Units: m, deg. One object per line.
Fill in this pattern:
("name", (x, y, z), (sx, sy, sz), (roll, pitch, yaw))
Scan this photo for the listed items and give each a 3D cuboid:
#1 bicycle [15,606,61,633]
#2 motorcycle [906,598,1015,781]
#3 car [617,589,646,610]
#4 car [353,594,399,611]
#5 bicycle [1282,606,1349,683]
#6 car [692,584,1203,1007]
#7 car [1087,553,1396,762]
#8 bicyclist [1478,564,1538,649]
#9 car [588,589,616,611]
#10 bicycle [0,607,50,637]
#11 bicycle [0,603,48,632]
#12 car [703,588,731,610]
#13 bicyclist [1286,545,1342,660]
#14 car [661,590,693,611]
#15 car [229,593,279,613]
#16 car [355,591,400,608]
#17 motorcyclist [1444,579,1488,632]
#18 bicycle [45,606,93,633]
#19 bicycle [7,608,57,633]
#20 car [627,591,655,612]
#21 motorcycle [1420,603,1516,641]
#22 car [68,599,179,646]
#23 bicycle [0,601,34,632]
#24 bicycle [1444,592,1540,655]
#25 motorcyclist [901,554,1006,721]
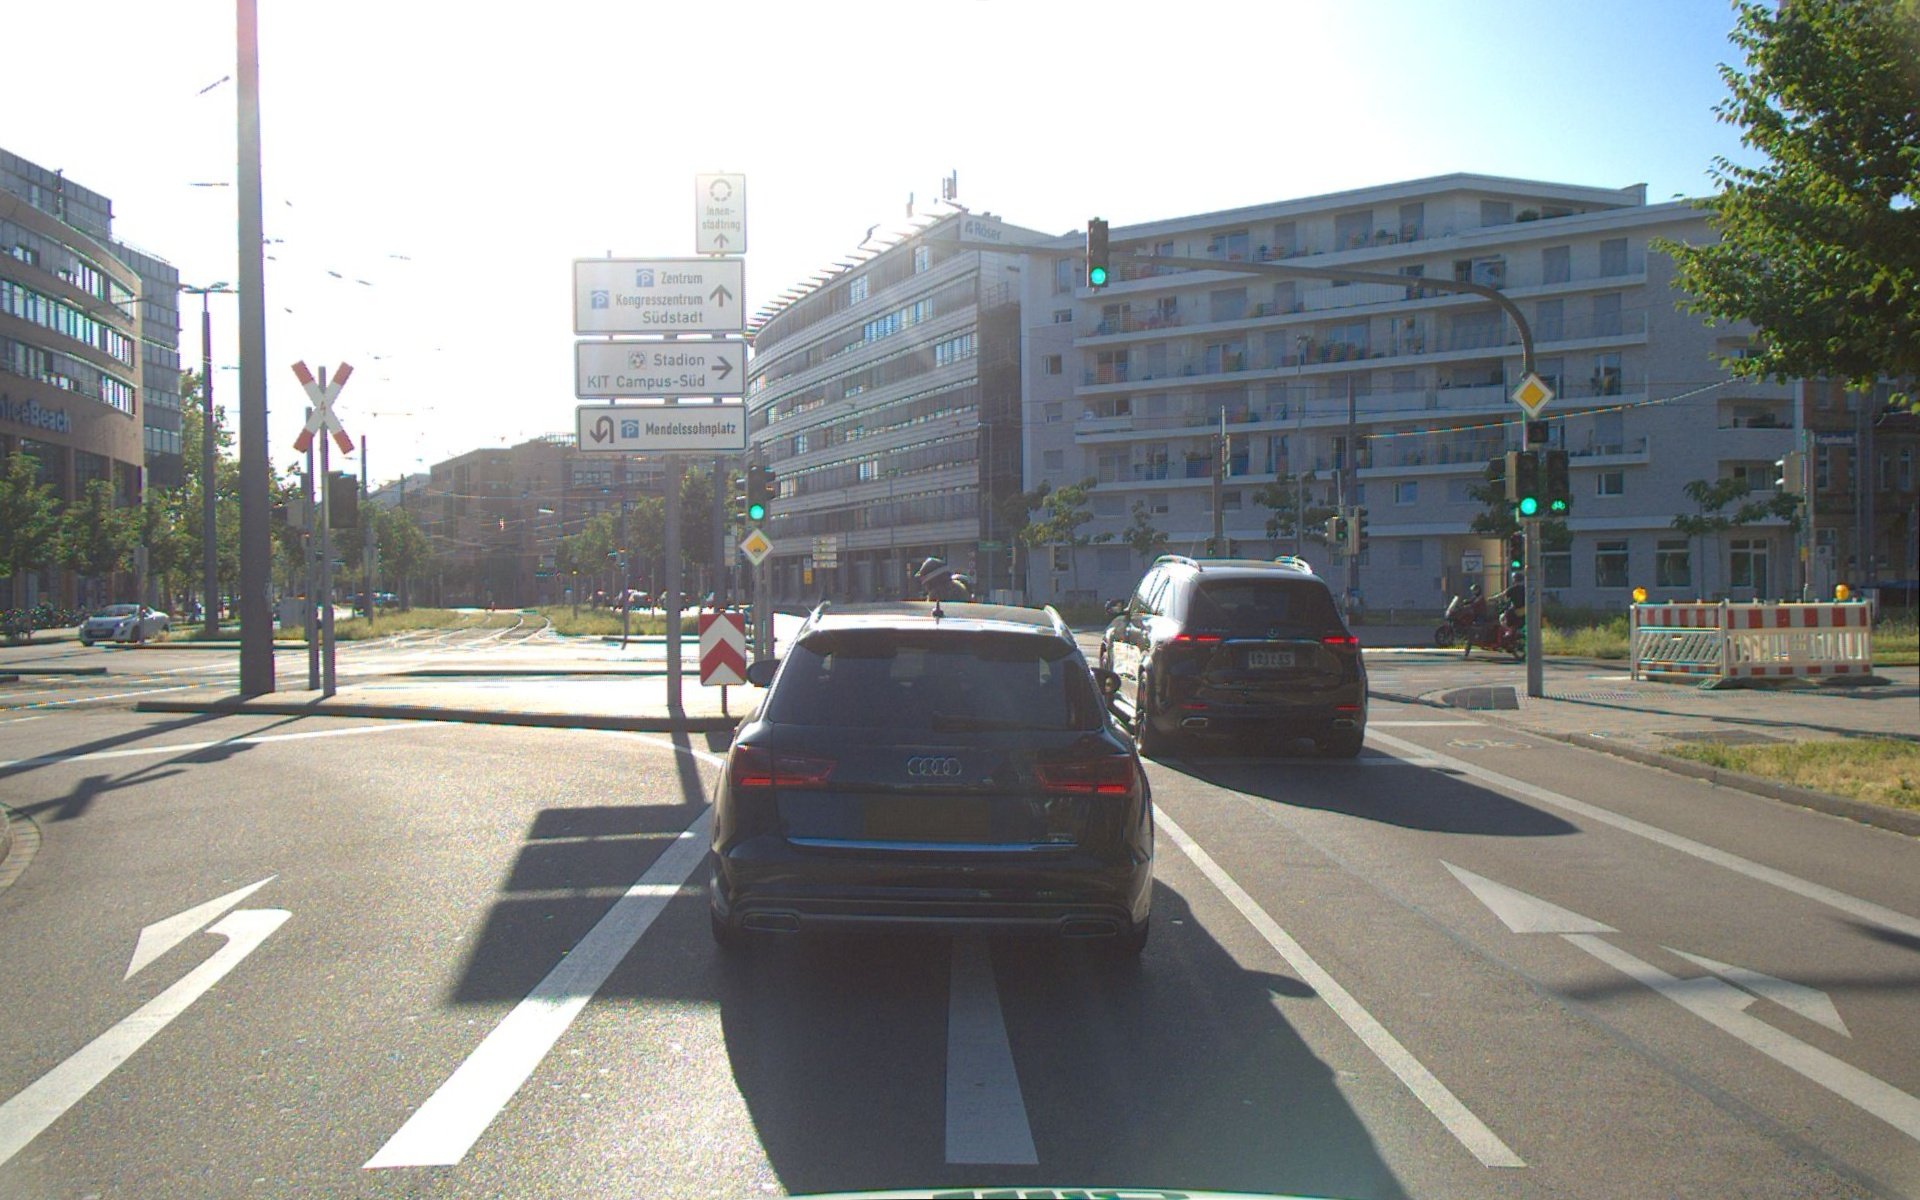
("bicycle", (-50.775, 1.078, 91.094), (2.197, 1.458, 0.719), (-2, -1, 8))
("motorcycle", (-0.010, 0.701, 13.908), (0.845, 1.417, 1.893), (-1, 0, -1))
("car", (-28.947, -0.073, 145.692), (1.963, 1.736, 3.978), (-1, 0, -19))
("car", (-57.253, 0.244, 162.231), (1.951, 1.668, 4.414), (-1, 0, 17))
("bicycle", (5.259, 0.638, 24.551), (0.640, 1.061, 1.930), (-1, 1, 2))
("car", (-0.084, 0.684, 7.907), (1.805, 1.479, 3.999), (1, 1, -1))
("car", (2.548, 0.461, 16.131), (1.963, 1.745, 4.369), (1, 1, -4))
("bicyclist", (11.495, 0.132, 34.695), (0.756, 1.736, 0.923), (-1, 0, -24))
("car", (-31.204, 0.010, 144.088), (1.963, 1.736, 3.978), (-1, 0, -19))
("bicycle", (-46.821, 1.100, 82.449), (2.507, 1.458, 0.905), (-2, -1, 8))
("bicycle", (-50.437, 0.948, 88.823), (2.551, 1.458, 0.772), (-2, -1, 8))
("car", (-21.797, -0.041, 148.412), (1.961, 1.870, 3.982), (-1, 0, -16))
("bicyclist", (5.250, 0.033, 24.548), (0.640, 1.671, 0.972), (-1, 1, 2))
("car", (-23.389, 0.036, 136.600), (1.964, 1.624, 3.977), (-1, 0, -19))
("car", (-67.149, 0.282, 157.402), (3.964, 1.736, 1.970), (-1, 0, -41))
("car", (-59.819, -0.093, 169.861), (1.953, 1.668, 4.411), (-1, 0, 23))
("motorcyclist", (14.474, 0.153, 47.340), (0.905, 1.507, 1.172), (-1, 0, 2))
("bicycle", (-50.814, 1.093, 94.306), (2.369, 1.458, 0.789), (-2, -1, 8))
("bicycle", (-50.618, 1.107, 90.247), (2.362, 1.257, 0.745), (-2, -1, 8))
("car", (-26.817, 0.144, 138.899), (1.961, 1.624, 3.982), (-2, 0, -16))
("motorcycle", (14.527, 0.621, 47.345), (2.401, 1.018, 1.172), (-1, 0, 2))
("car", (-30.013, 0.779, 59.500), (1.955, 1.572, 4.525), (-1, 1, -5))
("bicycle", (-46.388, 0.836, 80.208), (2.507, 1.458, 0.905), (-2, -1, 8))
("bicycle", (11.292, 0.485, 35.179), (0.756, 1.284, 2.066), (-1, 0, -24))
("motorcyclist", (-0.058, 0.307, 13.800), (0.845, 1.349, 0.681), (-1, 0, -1))
